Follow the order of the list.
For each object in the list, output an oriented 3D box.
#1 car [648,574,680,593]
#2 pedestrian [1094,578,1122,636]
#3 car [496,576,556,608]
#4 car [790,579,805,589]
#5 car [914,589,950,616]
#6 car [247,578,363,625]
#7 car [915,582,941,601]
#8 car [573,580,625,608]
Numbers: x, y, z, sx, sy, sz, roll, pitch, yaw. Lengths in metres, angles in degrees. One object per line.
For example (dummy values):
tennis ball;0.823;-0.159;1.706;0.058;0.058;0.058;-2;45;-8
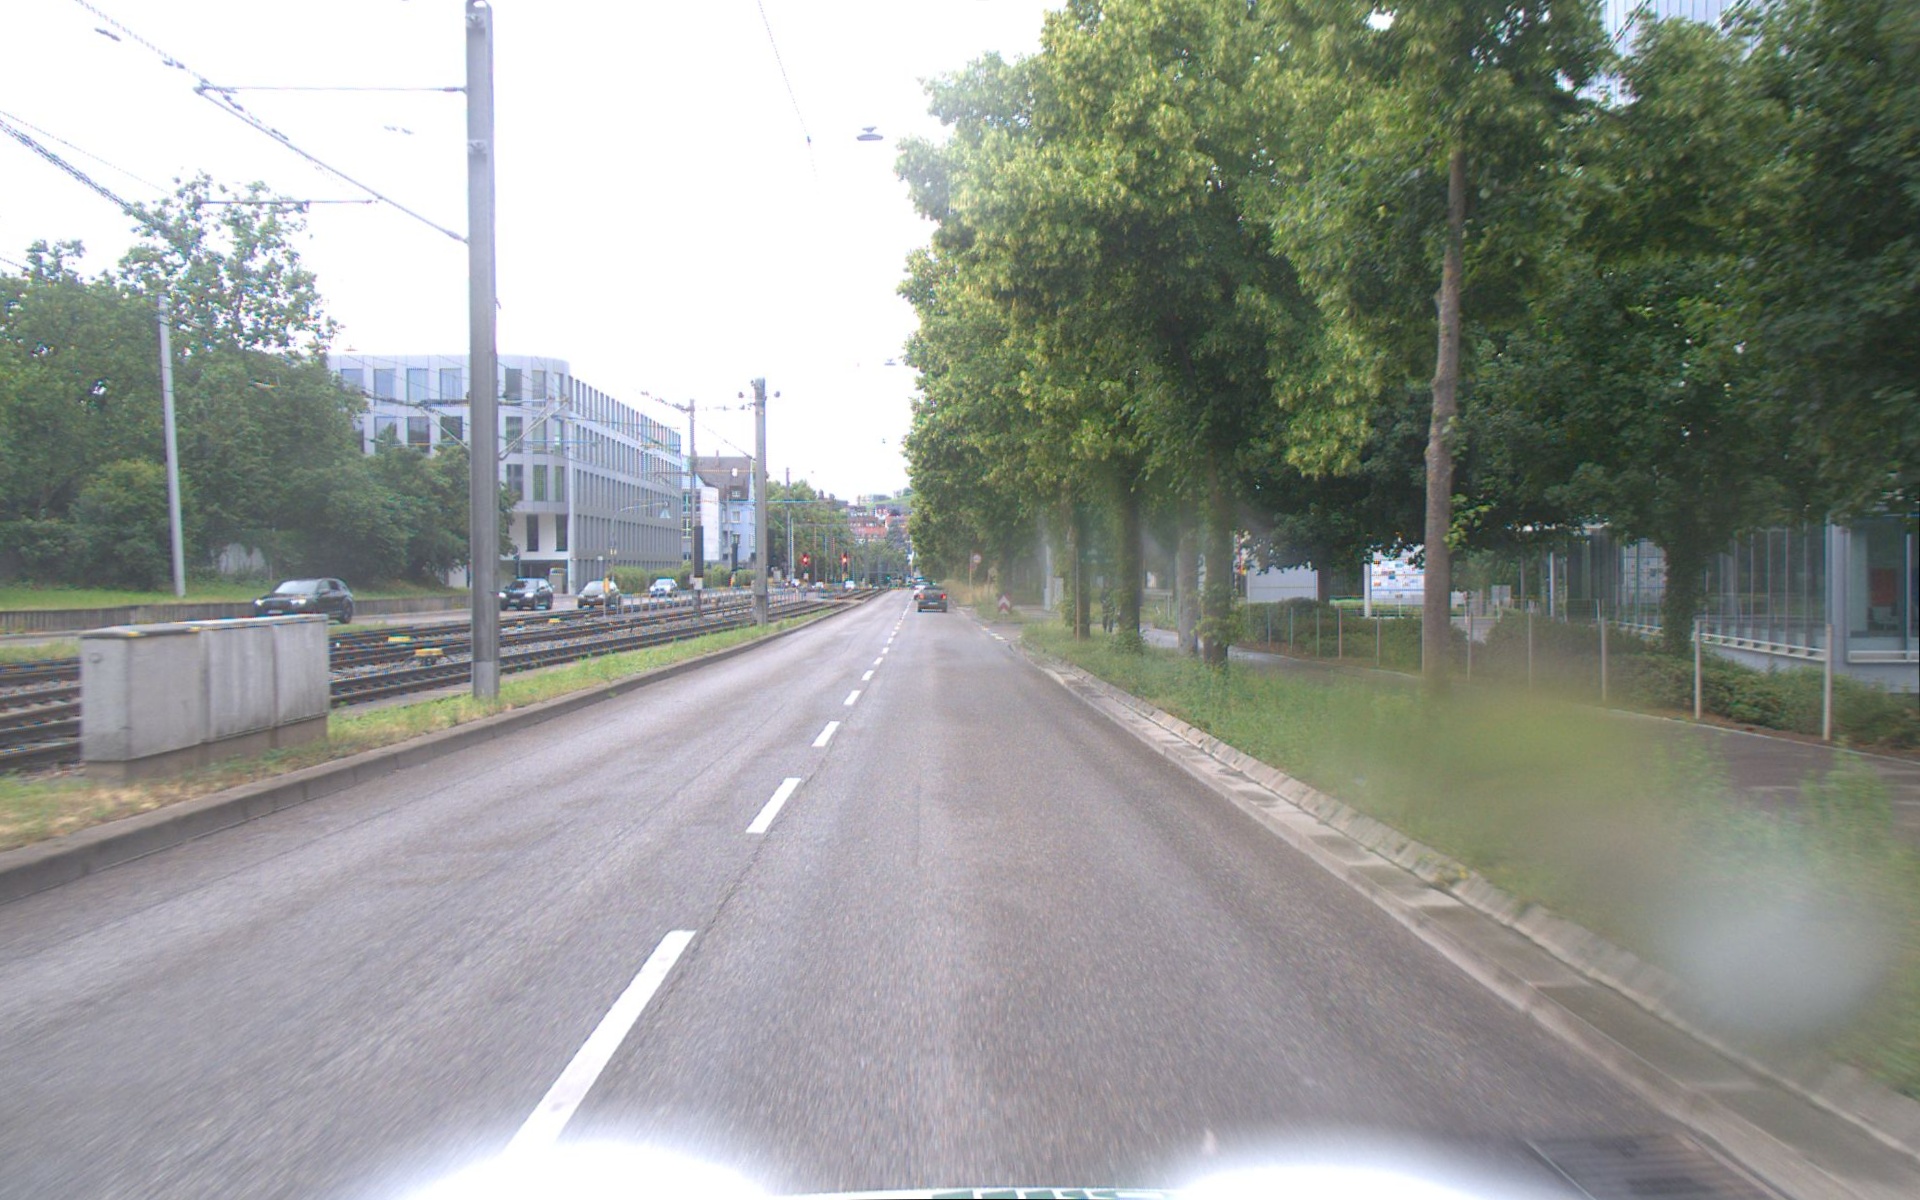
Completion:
car;-22.857;-1.280;127.811;1.724;1.422;3.901;0;1;2
pedestrian;4.726;0.225;52.866;0.809;1.828;0.867;1;0;-1
car;-22.894;-0.458;87.415;1.908;1.623;4.847;0;1;0
car;-21.461;-2.153;218.562;1.720;1.265;3.987;0;1;-1
car;-1.587;0.130;93.739;1.942;1.466;4.473;0;1;-1
car;-23.793;0.020;60.292;2.046;1.616;5.160;0;1;2
car;-2.470;-0.692;128.646;1.942;1.466;4.473;0;1;-1
car;-20.129;-0.359;92.291;1.852;1.512;4.309;0;1;2
